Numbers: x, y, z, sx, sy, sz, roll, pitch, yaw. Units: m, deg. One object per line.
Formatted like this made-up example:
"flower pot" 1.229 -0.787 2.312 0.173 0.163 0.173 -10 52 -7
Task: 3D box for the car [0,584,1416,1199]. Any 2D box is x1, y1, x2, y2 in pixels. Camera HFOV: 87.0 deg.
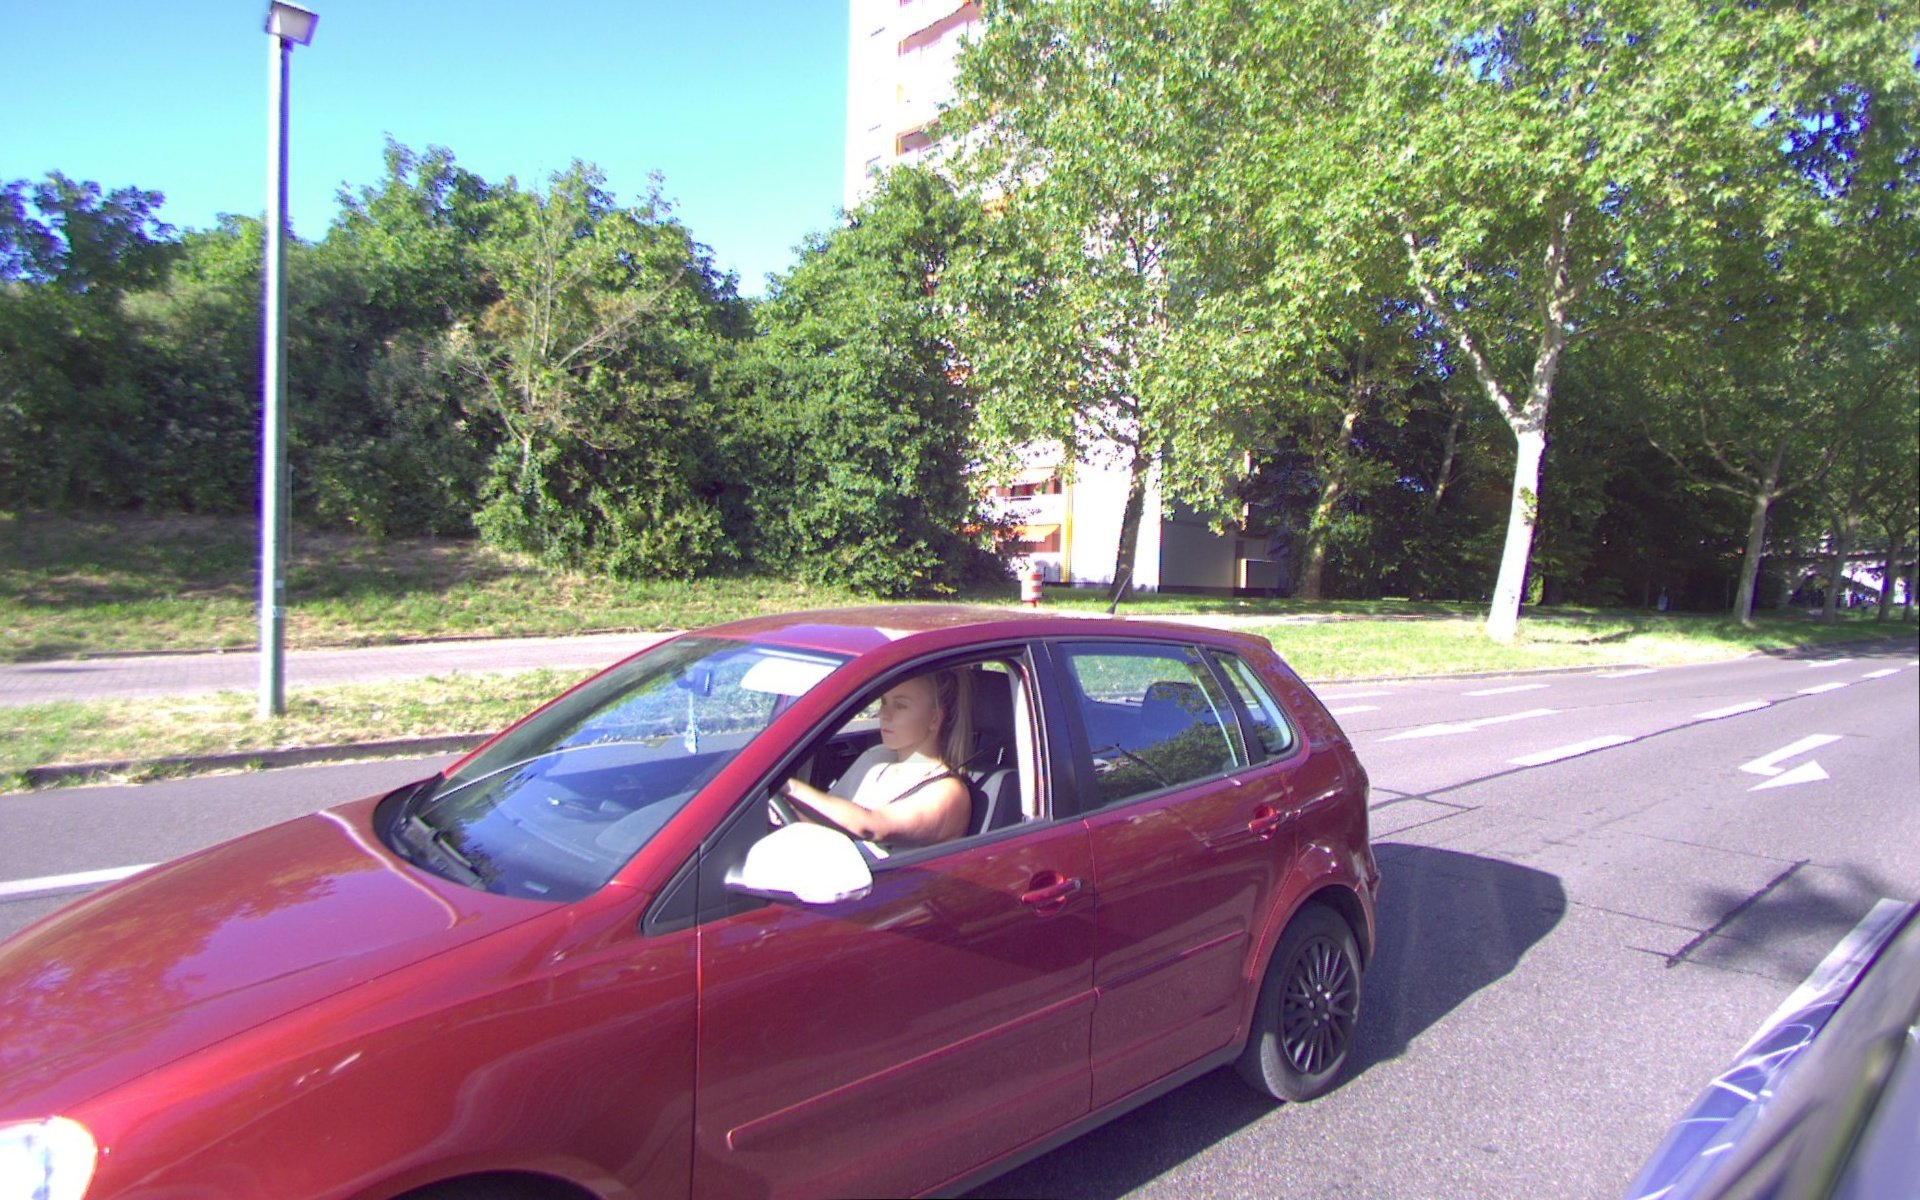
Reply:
"car" -0.452 0.695 2.764 3.627 1.434 1.626 0 1 -39

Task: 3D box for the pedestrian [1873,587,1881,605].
"pedestrian" 75.278 -0.328 83.090 0.410 1.481 0.398 0 1 -38
